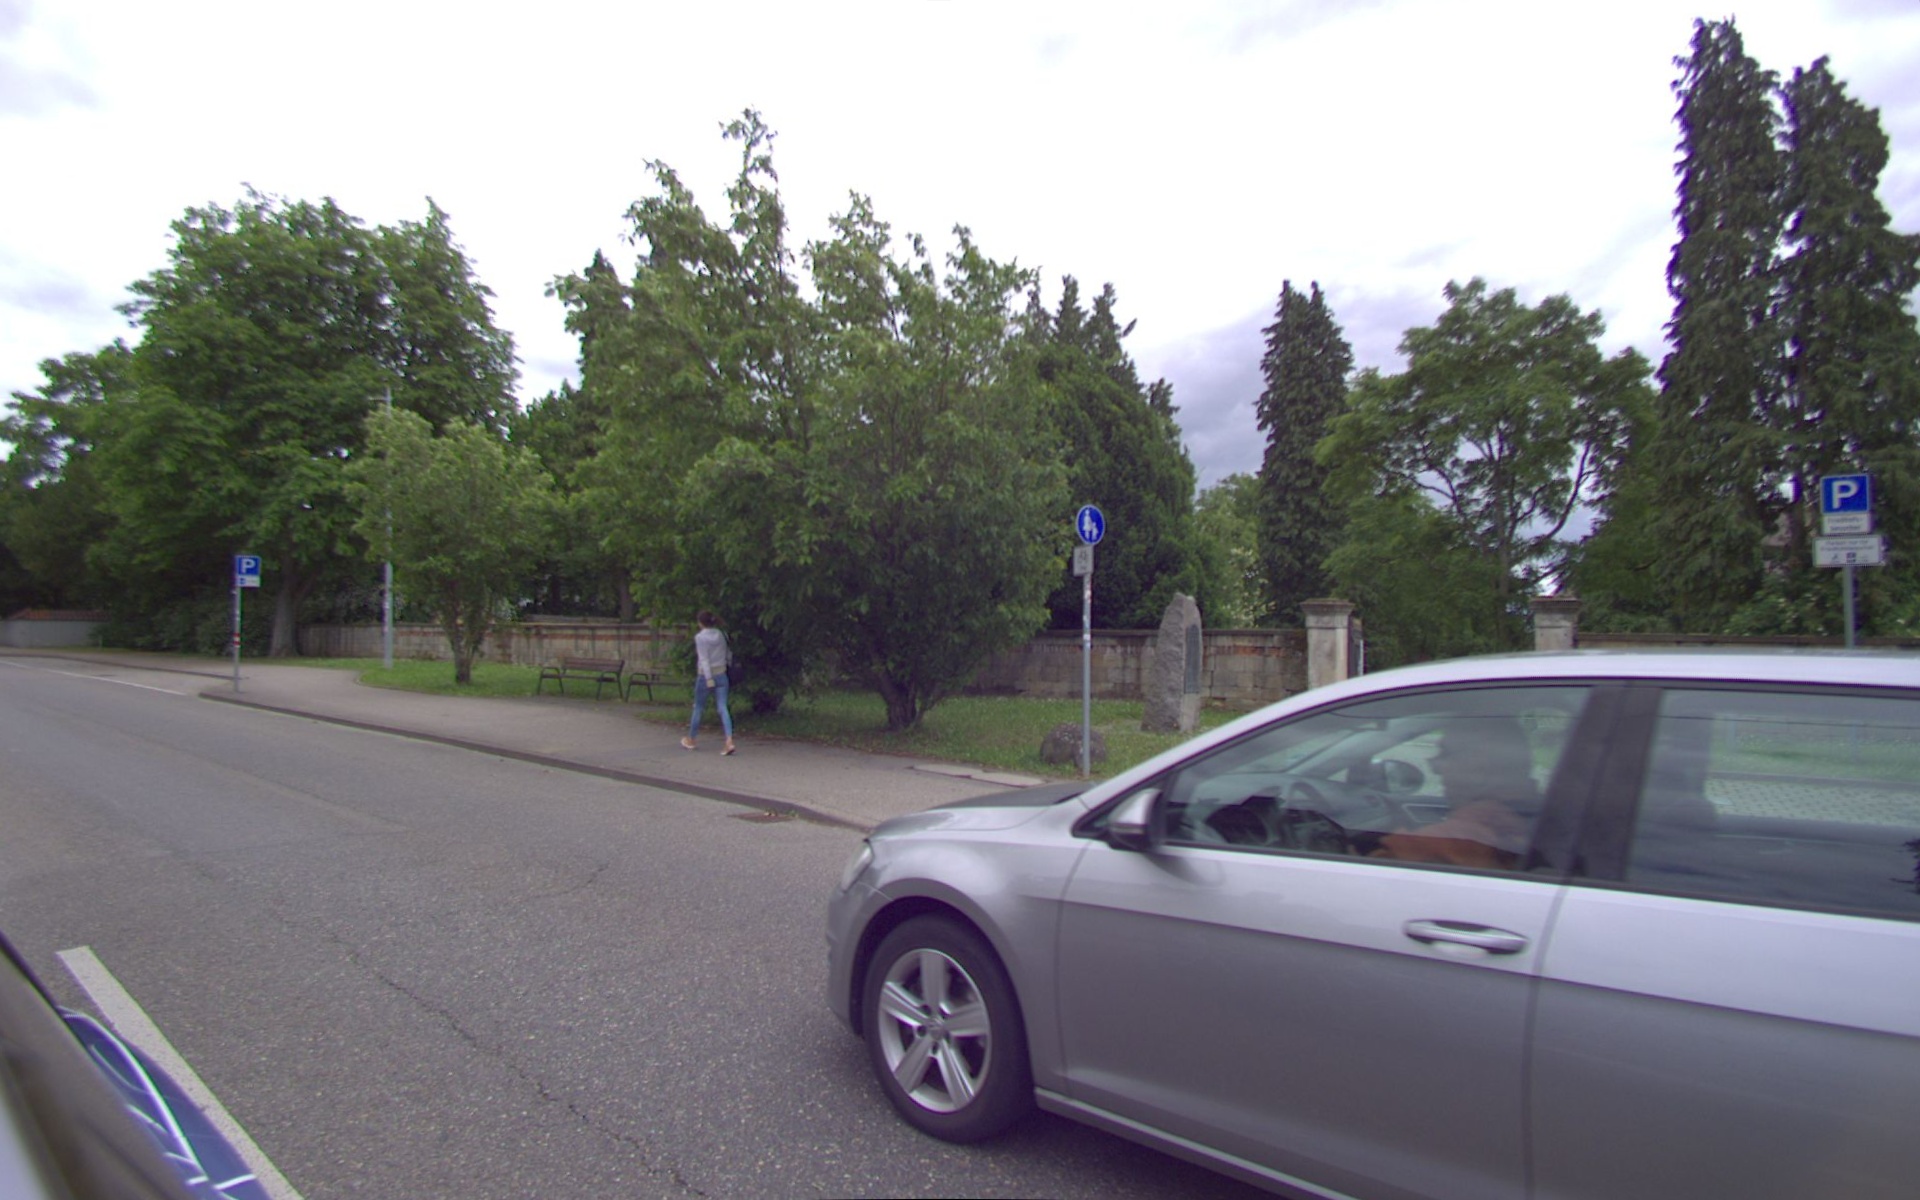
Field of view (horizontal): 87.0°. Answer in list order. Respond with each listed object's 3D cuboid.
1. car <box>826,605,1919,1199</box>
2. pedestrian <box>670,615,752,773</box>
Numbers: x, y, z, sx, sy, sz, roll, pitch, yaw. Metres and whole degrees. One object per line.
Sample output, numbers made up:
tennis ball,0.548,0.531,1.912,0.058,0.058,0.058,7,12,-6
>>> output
car,1.708,0.788,2.335,4.153,1.474,1.707,-1,-3,42
pedestrian,-3.033,1.101,12.302,0.784,1.825,0.607,-1,0,40
